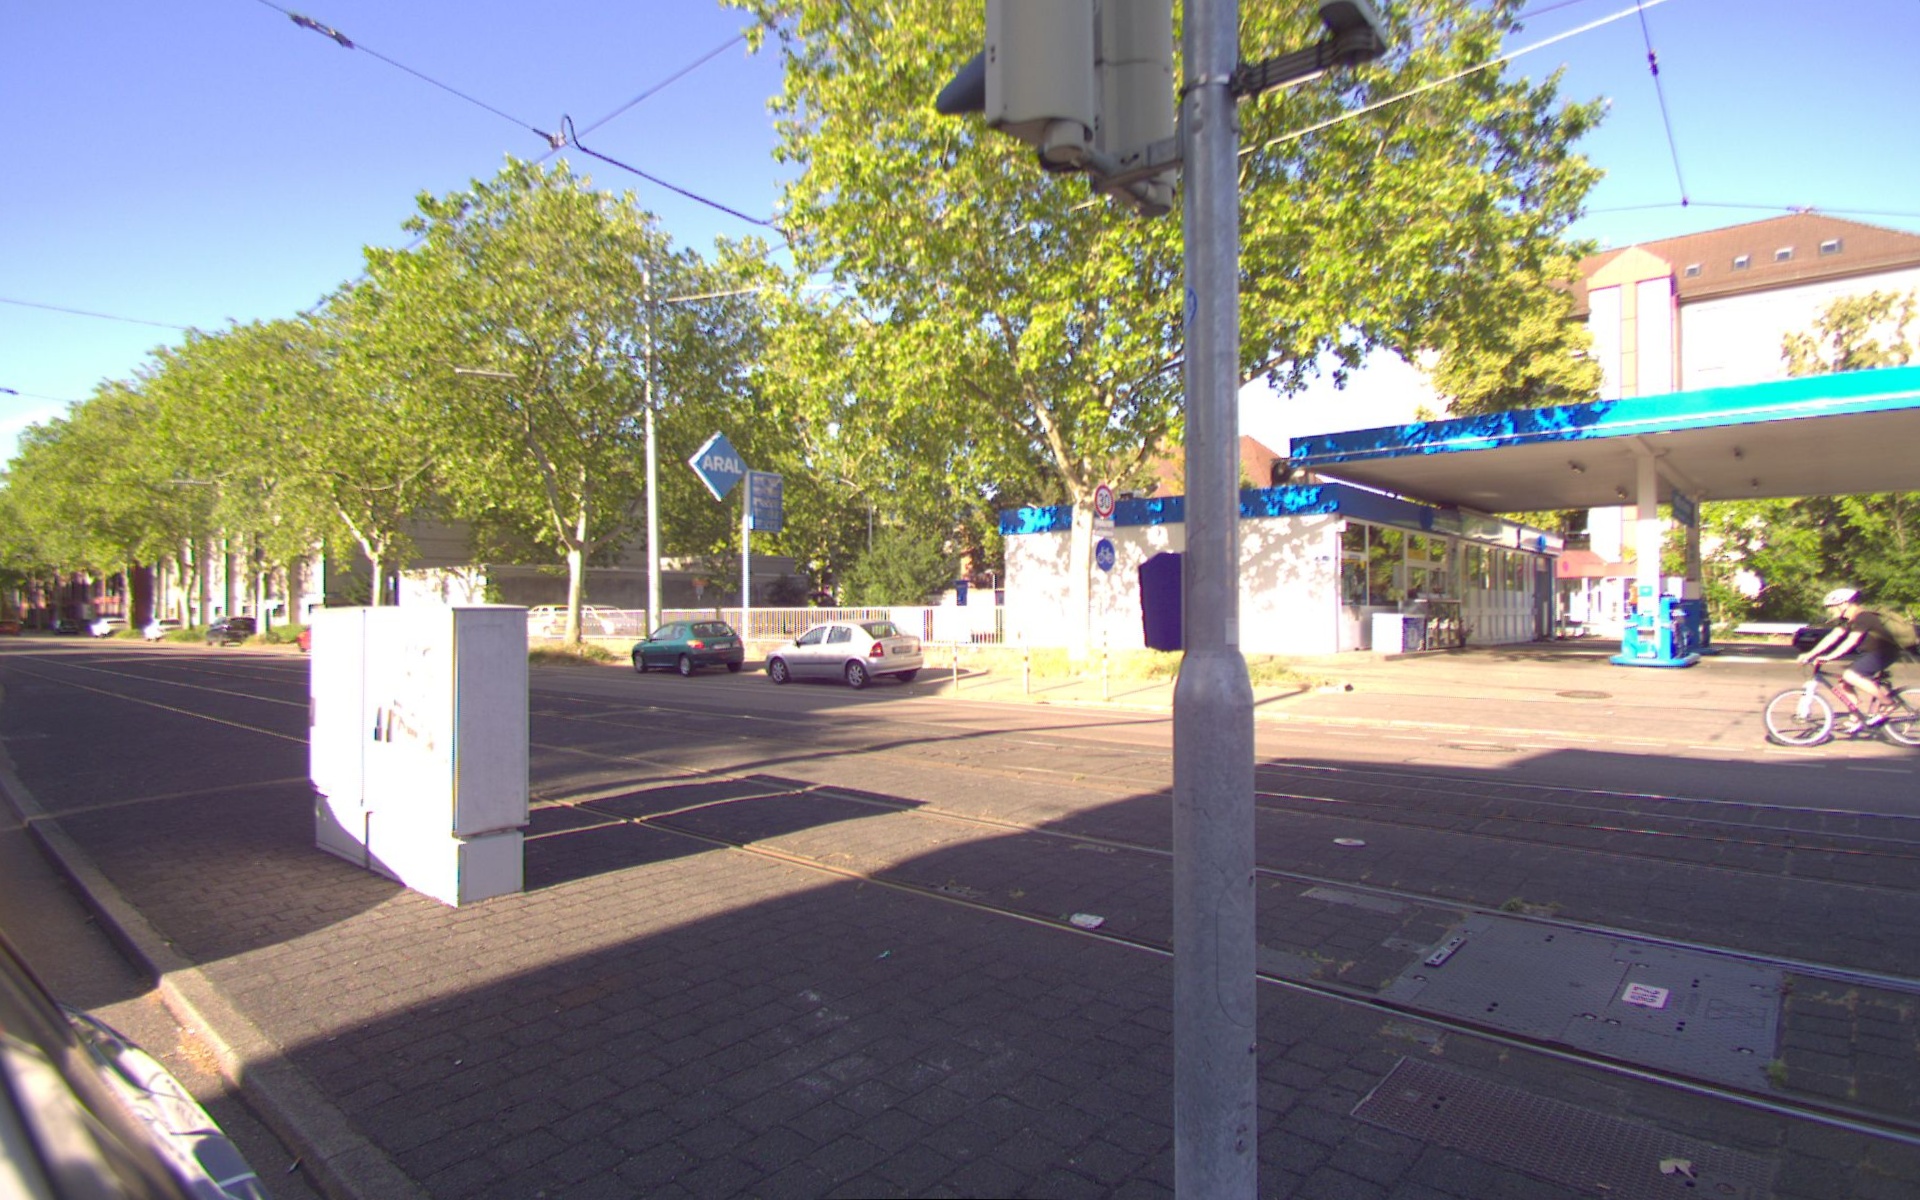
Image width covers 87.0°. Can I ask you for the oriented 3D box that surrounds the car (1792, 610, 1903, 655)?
[{"bbox_3d":[28.019,0.984,31.945,3.421,1.309,1.671,-1,0,-31],"label":"car"}]

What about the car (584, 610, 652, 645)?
[{"bbox_3d":[-14.721,1.143,43.483,3.151,1.431,1.525,-1,0,44],"label":"car"}]

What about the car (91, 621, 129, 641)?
[{"bbox_3d":[-66.813,2.416,79.533,3.998,1.569,1.678,-1,-2,41],"label":"car"}]

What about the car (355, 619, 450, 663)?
[{"bbox_3d":[-22.167,1.570,40.162,4.431,1.534,1.731,-1,3,40],"label":"car"}]

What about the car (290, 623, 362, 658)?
[{"bbox_3d":[-28.983,1.802,46.233,3.998,1.480,1.678,0,-1,41],"label":"car"}]

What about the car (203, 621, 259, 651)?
[{"bbox_3d":[-40.734,1.979,56.524,3.998,1.587,1.678,-1,-2,41],"label":"car"}]

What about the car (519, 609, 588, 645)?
[{"bbox_3d":[-16.881,1.092,42.016,3.151,1.431,1.525,-1,0,44],"label":"car"}]

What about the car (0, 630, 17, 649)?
[{"bbox_3d":[-83.536,3.430,87.875,4.761,1.534,1.887,-1,-2,40],"label":"car"}]

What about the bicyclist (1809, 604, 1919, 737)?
[{"bbox_3d":[9.769,0.740,10.917,0.798,1.376,0.555,-1,0,25],"label":"bicyclist"}]

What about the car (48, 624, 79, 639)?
[{"bbox_3d":[-85.185,2.977,96.148,3.998,1.420,1.678,-1,-2,41],"label":"car"}]

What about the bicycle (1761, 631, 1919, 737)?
[{"bbox_3d":[9.838,0.885,10.912,1.784,1.078,0.570,-1,0,26],"label":"bicycle"}]

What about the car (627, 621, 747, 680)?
[{"bbox_3d":[-7.283,1.297,26.854,3.253,1.431,1.526,-1,0,41],"label":"car"}]

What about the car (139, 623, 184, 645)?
[{"bbox_3d":[-53.810,2.291,68.187,3.998,1.420,1.678,-1,-2,41],"label":"car"}]

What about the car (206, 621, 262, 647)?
[{"bbox_3d":[-40.599,1.887,56.565,3.998,1.420,1.678,-1,-2,41],"label":"car"}]

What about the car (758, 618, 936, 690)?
[{"bbox_3d":[-2.590,1.143,22.669,3.998,1.431,1.709,-1,0,41],"label":"car"}]
